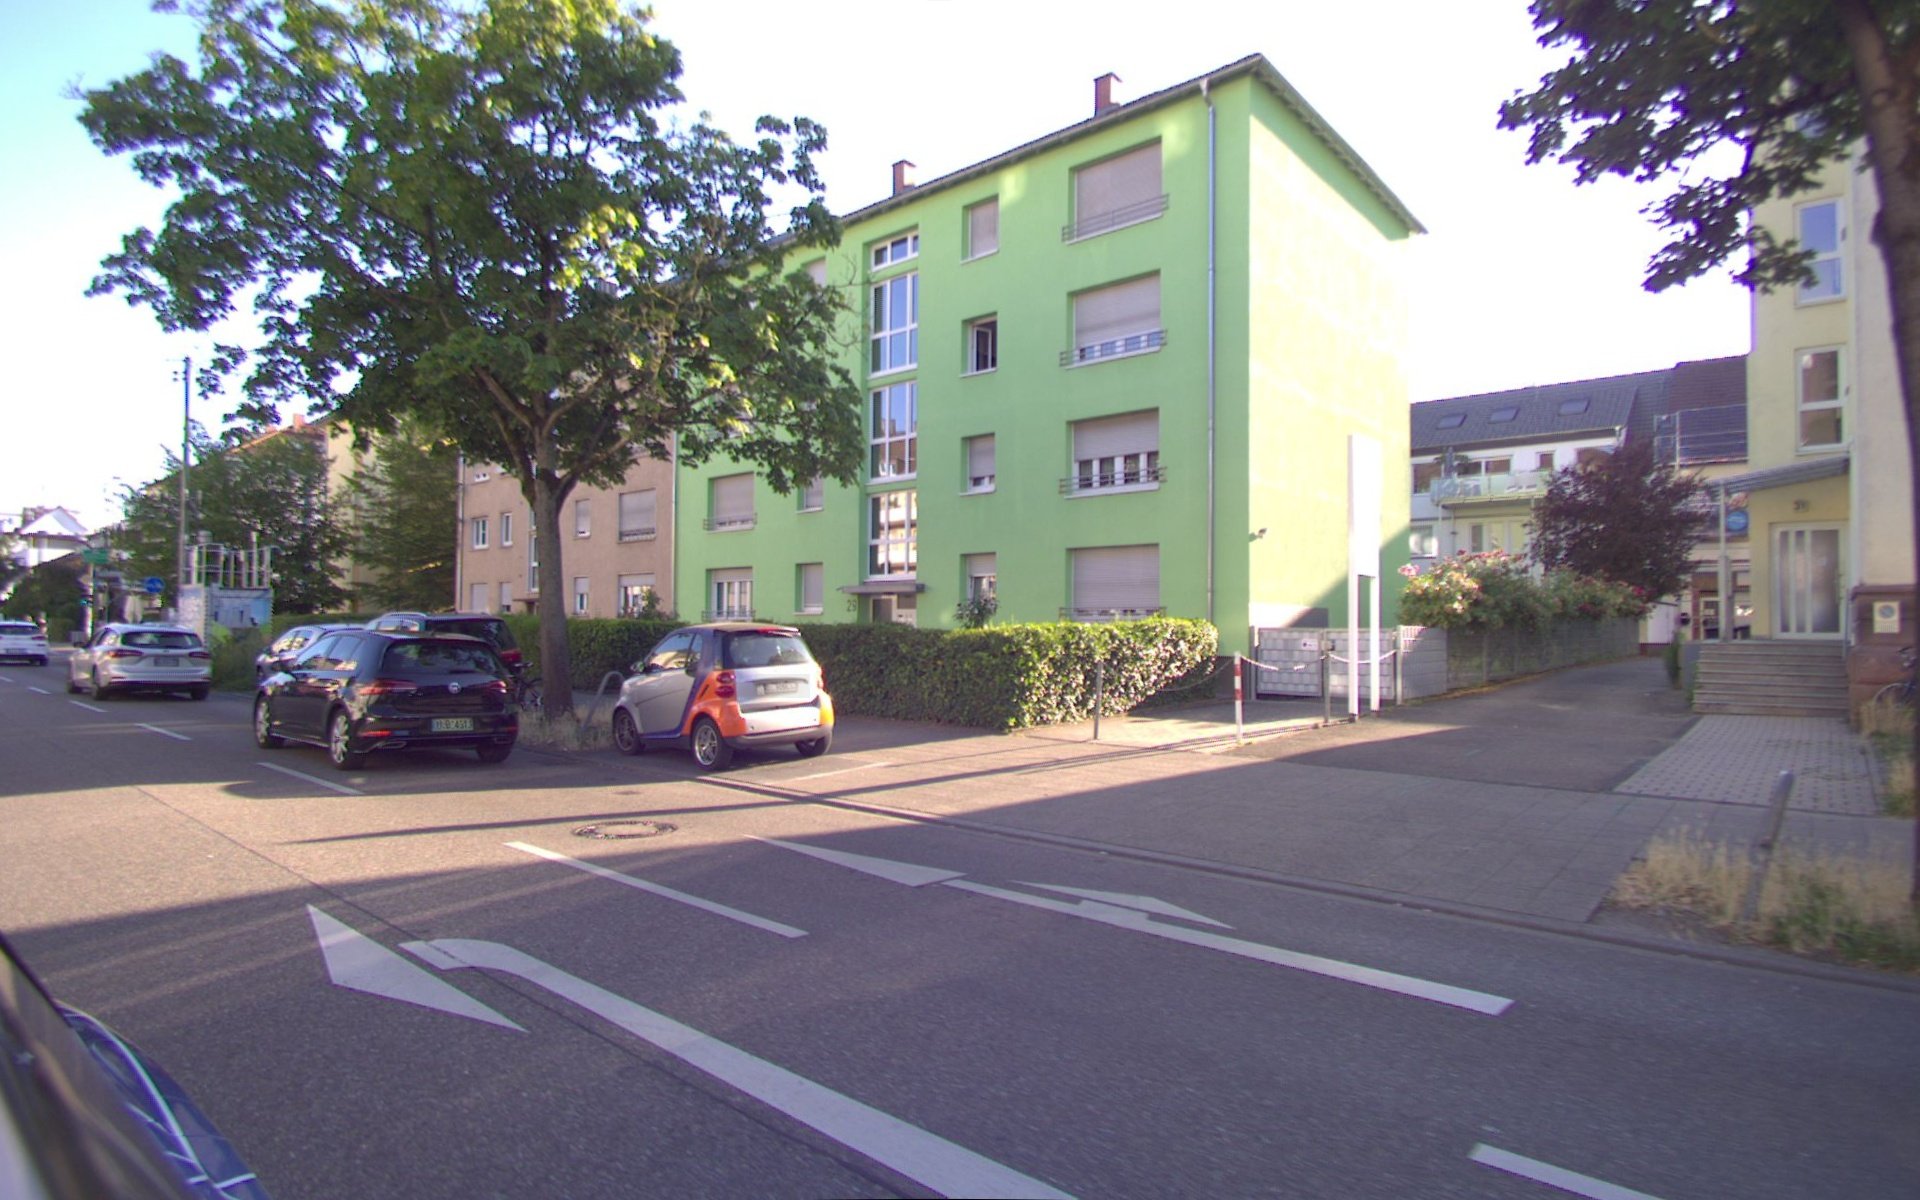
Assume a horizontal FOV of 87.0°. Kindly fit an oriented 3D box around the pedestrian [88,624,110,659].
[{"bbox_3d":[-40.296,1.936,47.385,0.749,1.606,0.601,0,2,38],"label":"pedestrian"}]

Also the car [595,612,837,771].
[{"bbox_3d":[-2.916,0.967,11.892,2.862,1.629,1.482,-1,-2,44],"label":"car"}]

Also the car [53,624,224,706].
[{"bbox_3d":[-16.622,1.271,20.414,4.448,1.482,1.813,-1,-5,40],"label":"car"}]

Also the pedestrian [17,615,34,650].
[{"bbox_3d":[-54.866,1.887,59.405,0.739,2.029,0.631,-1,-2,42],"label":"pedestrian"}]

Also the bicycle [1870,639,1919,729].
[{"bbox_3d":[12.357,1.031,12.222,1.999,1.097,0.479,-1,-2,42],"label":"bicycle"}]

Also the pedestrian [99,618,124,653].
[{"bbox_3d":[-41.064,1.703,48.976,0.607,1.670,0.741,-1,-2,34],"label":"pedestrian"}]

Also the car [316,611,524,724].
[{"bbox_3d":[-9.626,1.093,17.866,4.616,1.746,1.765,-1,-2,42],"label":"car"}]

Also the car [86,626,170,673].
[{"bbox_3d":[-27.955,1.621,33.980,3.942,1.490,1.635,-1,-2,43],"label":"car"}]

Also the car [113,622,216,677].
[{"bbox_3d":[-24.162,1.456,30.719,3.781,1.564,1.621,-1,-2,39],"label":"car"}]

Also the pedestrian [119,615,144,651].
[{"bbox_3d":[-40.125,1.596,49.037,0.598,1.641,0.752,-2,2,-12],"label":"pedestrian"}]

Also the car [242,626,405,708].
[{"bbox_3d":[-13.327,1.318,21.092,4.187,1.532,1.665,-1,-2,40],"label":"car"}]

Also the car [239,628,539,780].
[{"bbox_3d":[-6.601,1.063,11.534,4.025,1.414,1.682,-1,-4,41],"label":"car"}]

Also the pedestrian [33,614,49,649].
[{"bbox_3d":[-53.370,1.819,58.768,0.814,2.029,0.637,0,0,42],"label":"pedestrian"}]

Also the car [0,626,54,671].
[{"bbox_3d":[-32.216,1.605,34.163,4.107,1.457,1.797,-1,-4,40],"label":"car"}]
